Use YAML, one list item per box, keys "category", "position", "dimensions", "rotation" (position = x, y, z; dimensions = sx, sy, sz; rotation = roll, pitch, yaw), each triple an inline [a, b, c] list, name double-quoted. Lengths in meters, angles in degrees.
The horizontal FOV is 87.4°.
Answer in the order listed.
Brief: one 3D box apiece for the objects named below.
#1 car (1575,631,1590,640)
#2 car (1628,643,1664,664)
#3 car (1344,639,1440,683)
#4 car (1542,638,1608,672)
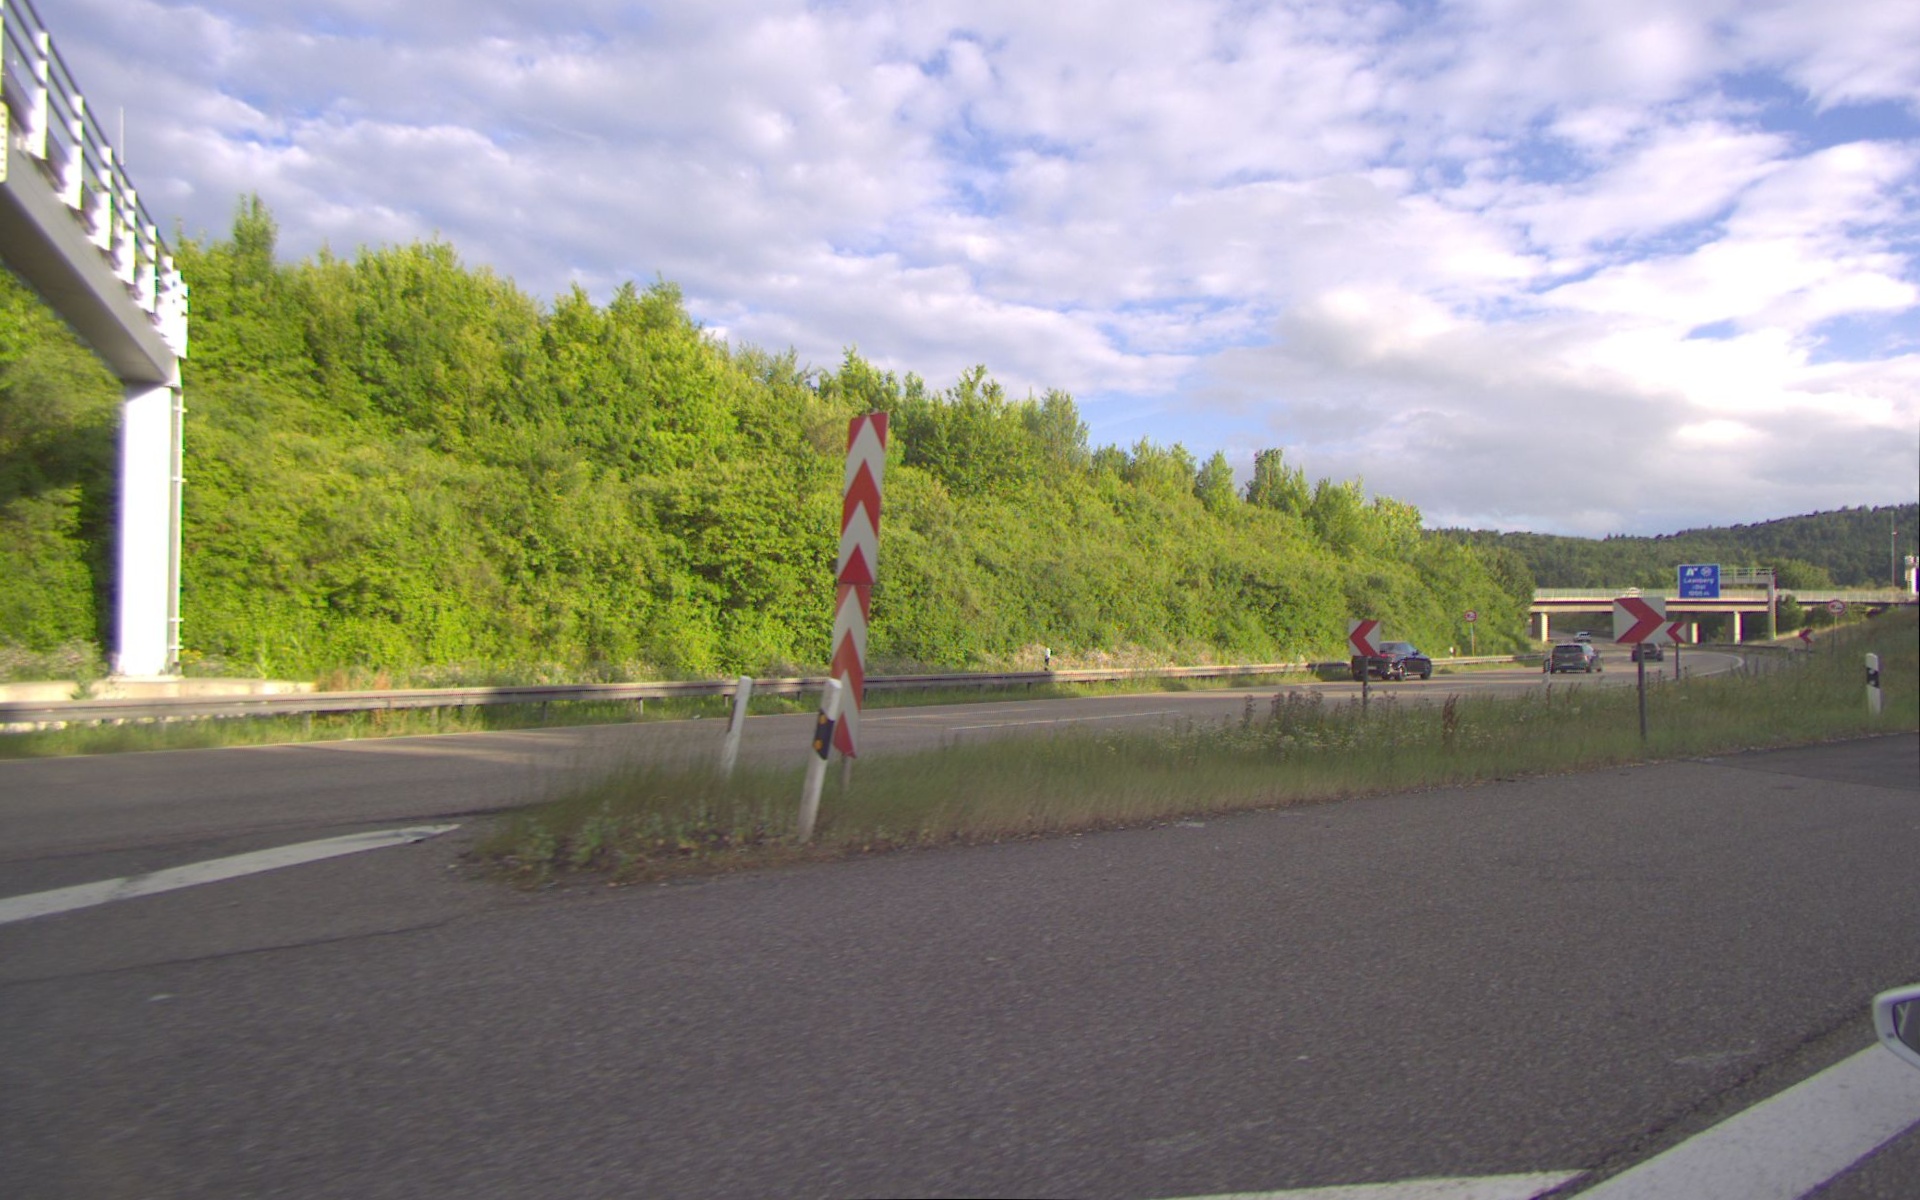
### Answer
- category: "car"
  position: [97.015, 5.521, 156.439]
  dimensions: [1.715, 1.486, 3.625]
  rotation: [-2, -3, 36]
- category: "car"
  position: [50.125, 3.893, 73.389]
  dimensions: [1.587, 1.485, 3.508]
  rotation: [-4, -5, 43]
- category: "car"
  position: [17.295, 2.416, 40.152]
  dimensions: [3.966, 1.656, 1.819]
  rotation: [2, -5, -39]
- category: "car"
  position: [29.339, 2.612, 47.904]
  dimensions: [3.761, 1.485, 1.721]
  rotation: [2, -6, -44]
